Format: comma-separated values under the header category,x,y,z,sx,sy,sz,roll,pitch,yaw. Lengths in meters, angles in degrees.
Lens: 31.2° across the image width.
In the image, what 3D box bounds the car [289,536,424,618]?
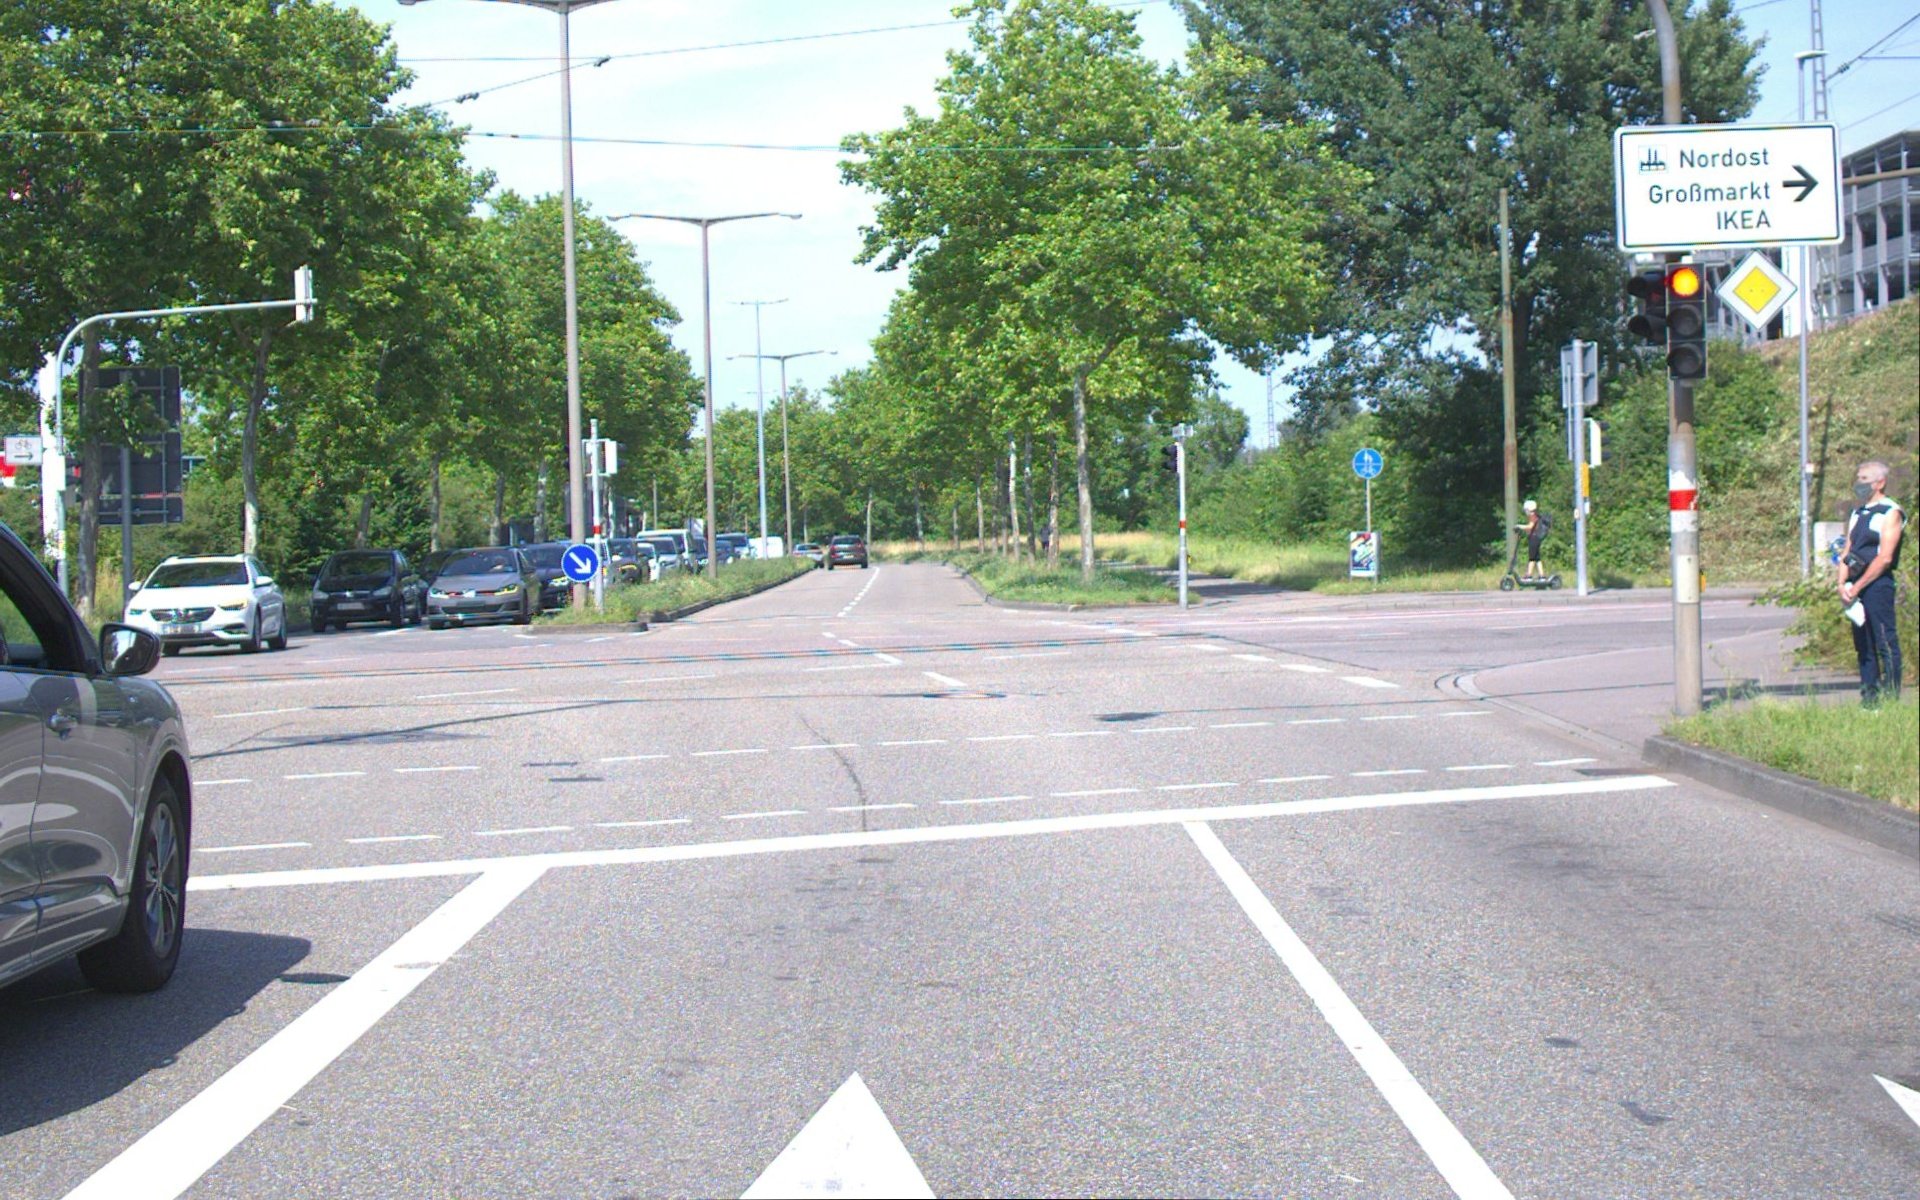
category,x,y,z,sx,sy,sz,roll,pitch,yaw
car,-11.932,-0.479,68.218,1.993,1.508,4.000,-1,1,-1

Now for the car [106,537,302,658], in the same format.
category,x,y,z,sx,sy,sz,roll,pitch,yaw
car,-10.991,-0.067,50.246,1.993,1.507,4.001,-1,3,-1

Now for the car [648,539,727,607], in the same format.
category,x,y,z,sx,sy,sz,roll,pitch,yaw
car,-7.922,-0.812,100.306,1.993,1.889,4.376,-1,1,-1

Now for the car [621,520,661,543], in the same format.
category,x,y,z,sx,sy,sz,roll,pitch,yaw
car,-23.779,-5.083,256.346,1.865,1.689,4.411,-2,1,-20

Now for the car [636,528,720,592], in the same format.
category,x,y,z,sx,sy,sz,roll,pitch,yaw
car,-7.746,-1.113,94.748,1.993,1.672,4.000,-1,1,-1

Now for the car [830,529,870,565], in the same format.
category,x,y,z,sx,sy,sz,roll,pitch,yaw
car,-5.245,-2.543,163.991,1.736,1.530,4.001,-1,3,0

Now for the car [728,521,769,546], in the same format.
category,x,y,z,sx,sy,sz,roll,pitch,yaw
car,-14.709,-4.612,238.762,1.865,1.689,4.411,-2,1,-16

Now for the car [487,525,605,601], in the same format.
category,x,y,z,sx,sy,sz,roll,pitch,yaw
car,-8.603,-0.789,71.699,1.993,1.495,4.000,-1,1,-1

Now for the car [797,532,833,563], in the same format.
category,x,y,z,sx,sy,sz,roll,pitch,yaw
car,-8.269,-3.029,196.211,1.866,1.689,4.410,-1,1,-1

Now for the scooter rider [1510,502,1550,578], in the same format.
category,x,y,z,sx,sy,sz,roll,pitch,yaw
scooter rider,10.726,-1.134,64.703,0.675,1.423,0.492,-1,1,5

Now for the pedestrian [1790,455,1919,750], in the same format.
category,x,y,z,sx,sy,sz,roll,pitch,yaw
pedestrian,6.126,0.002,23.169,0.837,1.926,0.772,-1,3,-3

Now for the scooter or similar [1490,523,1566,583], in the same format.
category,x,y,z,sx,sy,sz,roll,pitch,yaw
scooter or similar,10.687,-0.891,64.708,1.344,1.094,0.492,-1,1,5

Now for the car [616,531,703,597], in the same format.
category,x,y,z,sx,sy,sz,roll,pitch,yaw
car,-7.676,-0.933,88.065,1.903,1.590,4.000,-1,1,-1

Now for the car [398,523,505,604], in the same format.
category,x,y,z,sx,sy,sz,roll,pitch,yaw
car,-12.454,-0.925,84.471,1.993,1.889,4.376,-1,1,-1

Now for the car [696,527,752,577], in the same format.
category,x,y,z,sx,sy,sz,roll,pitch,yaw
car,-9.256,-1.892,135.131,1.993,1.889,4.376,-1,1,-1

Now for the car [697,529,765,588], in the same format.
category,x,y,z,sx,sy,sz,roll,pitch,yaw
car,-7.741,-1.431,116.417,1.993,1.889,4.376,-1,1,0

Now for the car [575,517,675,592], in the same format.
category,x,y,z,sx,sy,sz,roll,pitch,yaw
car,-7.859,-1.089,80.945,1.993,1.690,4.000,-1,1,-1

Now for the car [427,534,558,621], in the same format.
category,x,y,z,sx,sy,sz,roll,pitch,yaw
car,-8.664,-0.452,63.986,1.918,1.508,4.000,-1,1,-1

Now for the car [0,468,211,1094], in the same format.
category,x,y,z,sx,sy,sz,roll,pitch,yaw
car,-3.430,0.466,9.376,1.881,1.612,4.213,-1,1,-1
